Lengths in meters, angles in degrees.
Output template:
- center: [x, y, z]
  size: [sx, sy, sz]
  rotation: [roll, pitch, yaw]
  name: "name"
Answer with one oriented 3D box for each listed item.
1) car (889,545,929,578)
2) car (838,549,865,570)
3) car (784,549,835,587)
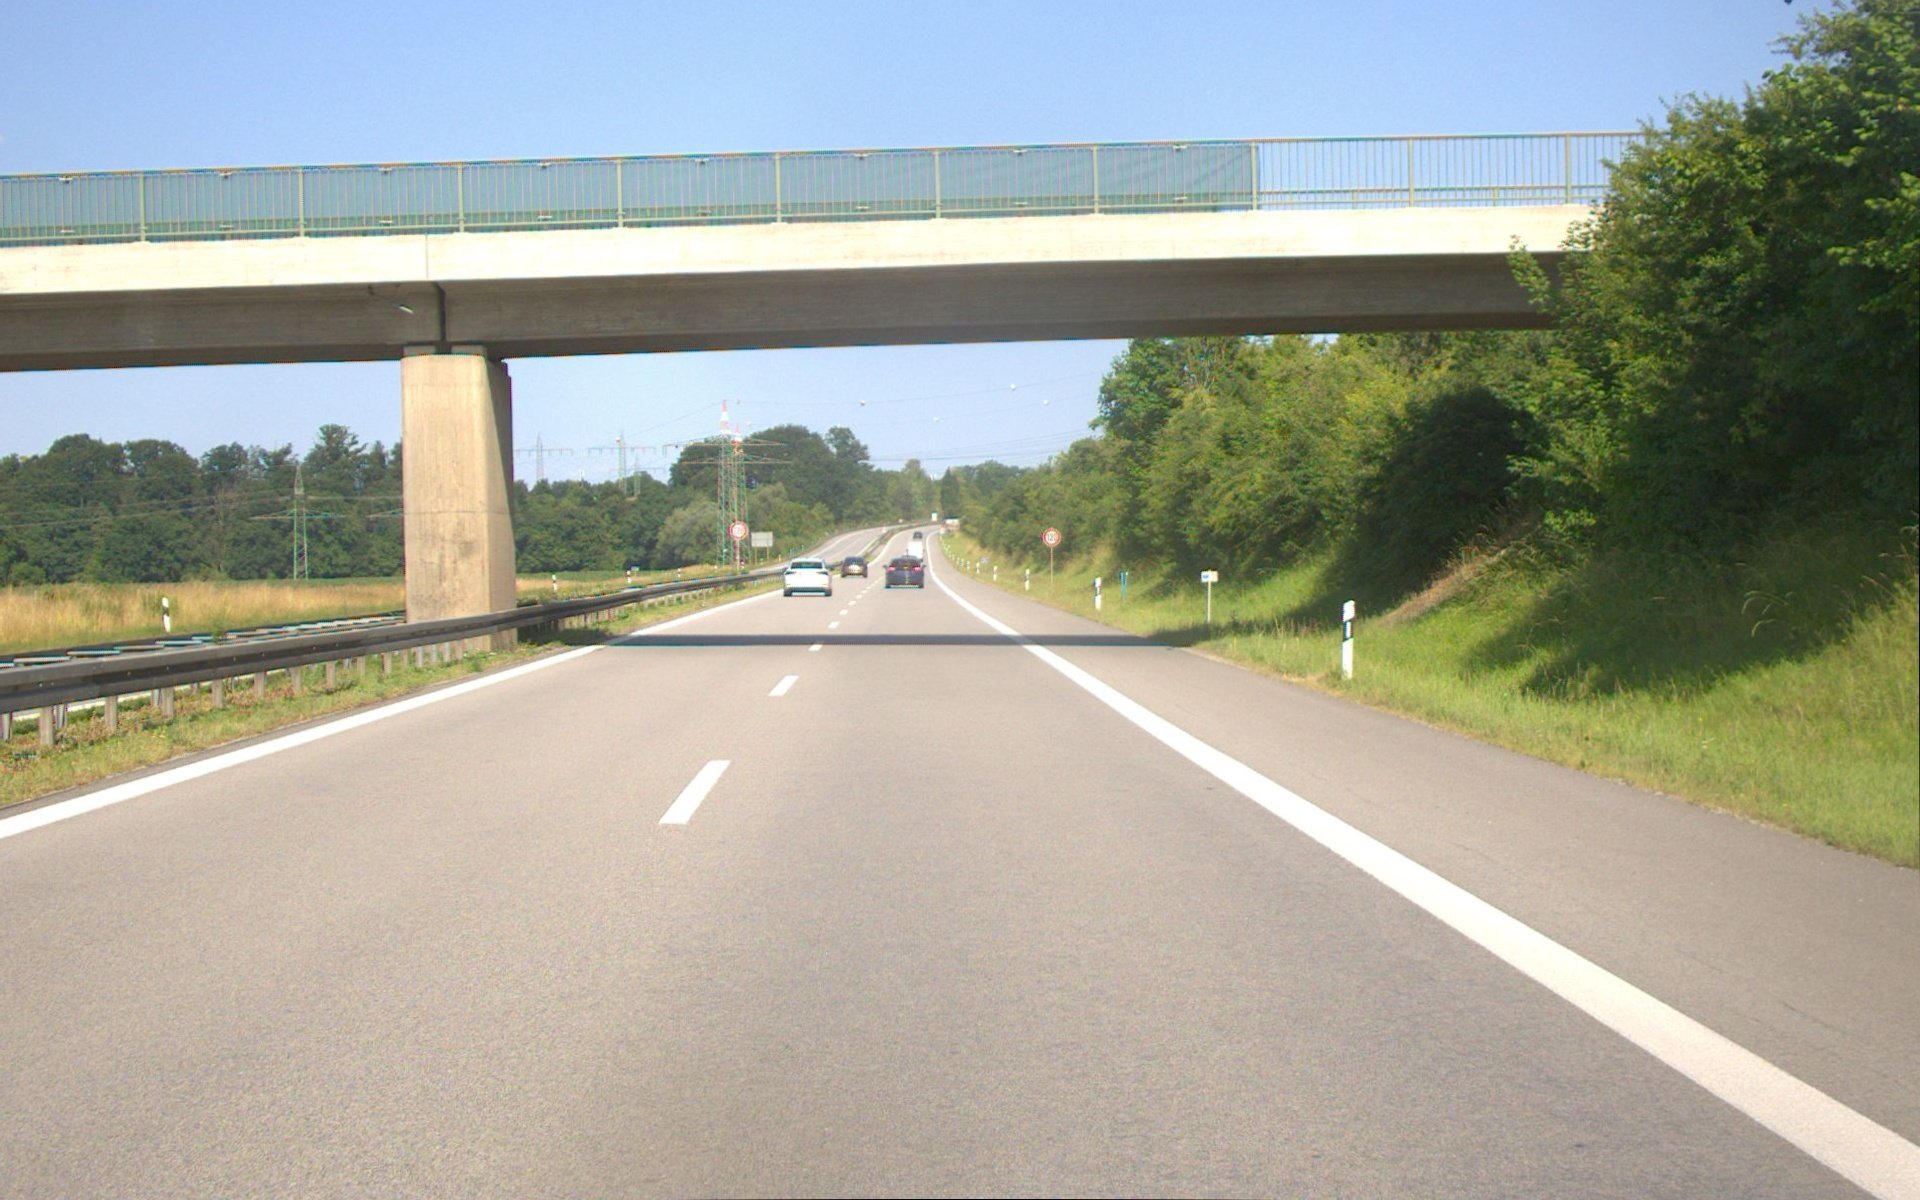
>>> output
- center: [-2.433, -1.844, 164.516]
  size: [1.843, 1.515, 4.000]
  rotation: [1, 1, -1]
  name: "car"
- center: [-7.539, -2.802, 238.851]
  size: [1.843, 1.431, 4.000]
  rotation: [1, 1, -1]
  name: "car"
- center: [-5.668, -1.209, 130.004]
  size: [1.843, 1.411, 4.000]
  rotation: [1, 1, -1]
  name: "car"
